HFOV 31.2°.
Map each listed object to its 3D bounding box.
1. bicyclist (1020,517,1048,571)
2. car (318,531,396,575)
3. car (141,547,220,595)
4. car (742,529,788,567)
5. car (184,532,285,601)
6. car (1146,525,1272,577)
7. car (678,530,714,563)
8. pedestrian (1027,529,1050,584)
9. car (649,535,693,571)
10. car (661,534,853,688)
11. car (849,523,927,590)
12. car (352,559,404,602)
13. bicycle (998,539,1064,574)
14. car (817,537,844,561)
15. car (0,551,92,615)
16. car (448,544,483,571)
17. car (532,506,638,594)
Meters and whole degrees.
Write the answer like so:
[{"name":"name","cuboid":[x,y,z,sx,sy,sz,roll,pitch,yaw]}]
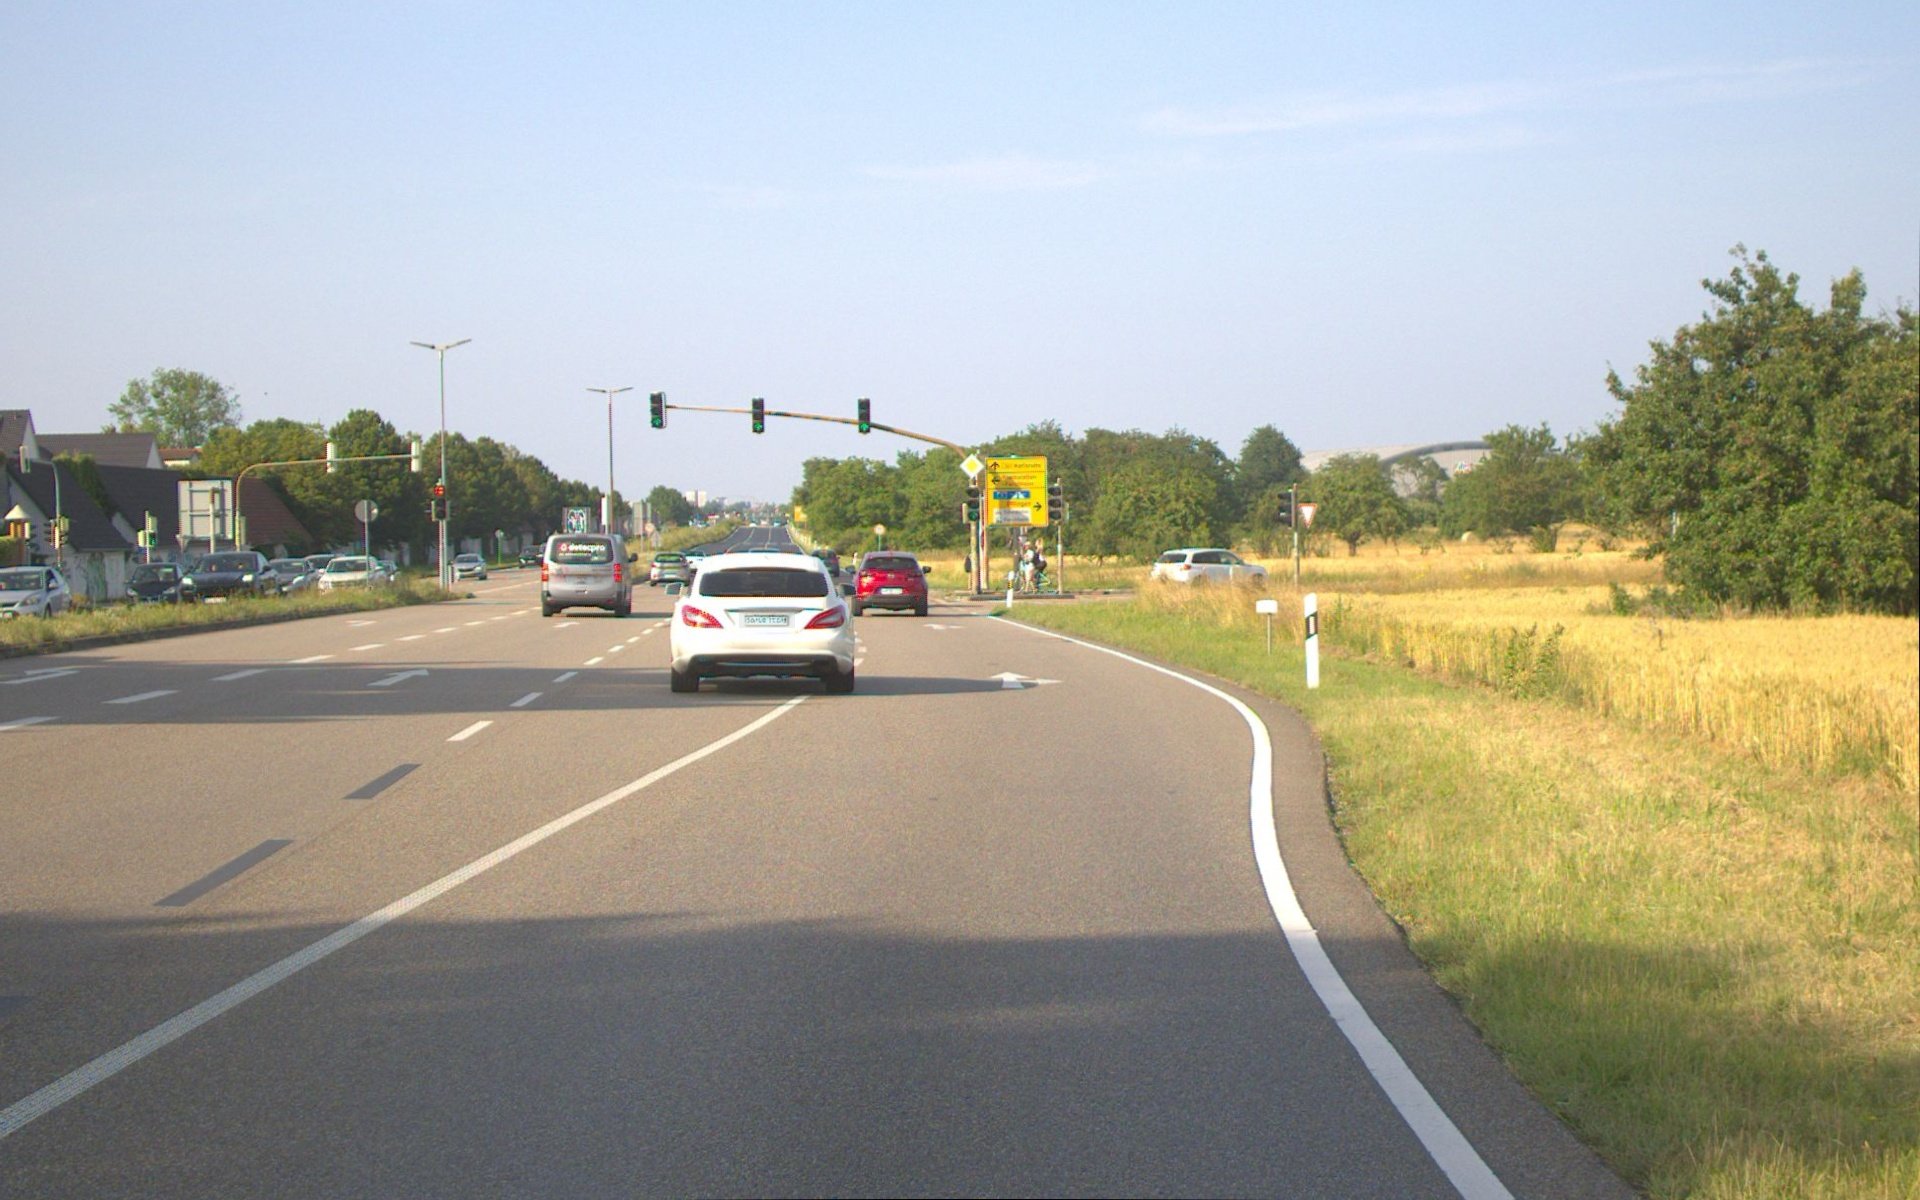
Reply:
[{"name":"bicyclist","cuboid":[2.400,-1.830,111.758,0.848,1.750,0.799,1,1,-1]},{"name":"car","cuboid":[-18.899,-1.494,107.905,1.873,1.317,4.714,1,1,-3]},{"name":"car","cuboid":[-22.076,-0.829,97.420,1.684,1.282,3.148,1,1,-3]},{"name":"car","cuboid":[-8.874,-2.369,156.801,1.839,1.678,4.000,1,1,0]},{"name":"car","cuboid":[-17.991,-0.864,85.423,1.731,1.619,4.923,1,1,-3]},{"name":"car","cuboid":[7.888,-1.545,108.901,1.860,1.592,3.990,2,2,43]},{"name":"car","cuboid":[-14.113,-2.860,183.438,1.775,1.660,3.664,1,1,-6]},{"name":"pedestrian","cuboid":[2.520,-1.406,110.468,0.710,1.745,0.863,1,1,-1]},{"name":"car","cuboid":[-12.486,-2.051,148.423,1.717,1.487,3.585,1,1,-2]},{"name":"car","cuboid":[-2.115,0.073,36.042,1.894,1.503,4.001,0,1,-3]},{"name":"car","cuboid":[-1.720,-1.055,81.220,1.754,1.511,4.001,-1,1,-2]},{"name":"car","cuboid":[-25.178,-0.851,148.932,1.775,1.745,4.001,1,1,-3]},{"name":"bicycle","cuboid":[2.306,-1.425,111.783,2.096,1.085,0.808,1,1,1]},{"name":"car","cuboid":[-6.953,-2.738,184.597,1.439,1.279,2.915,1,1,-2]},{"name":"car","cuboid":[-20.931,-0.404,77.397,1.780,1.318,4.605,1,1,-2]},{"name":"car","cuboid":[-27.930,-2.424,194.178,1.783,1.432,4.358,1,1,-6]},{"name":"car","cuboid":[-8.495,-1.163,78.221,2.025,1.885,4.959,1,2,-2]}]
